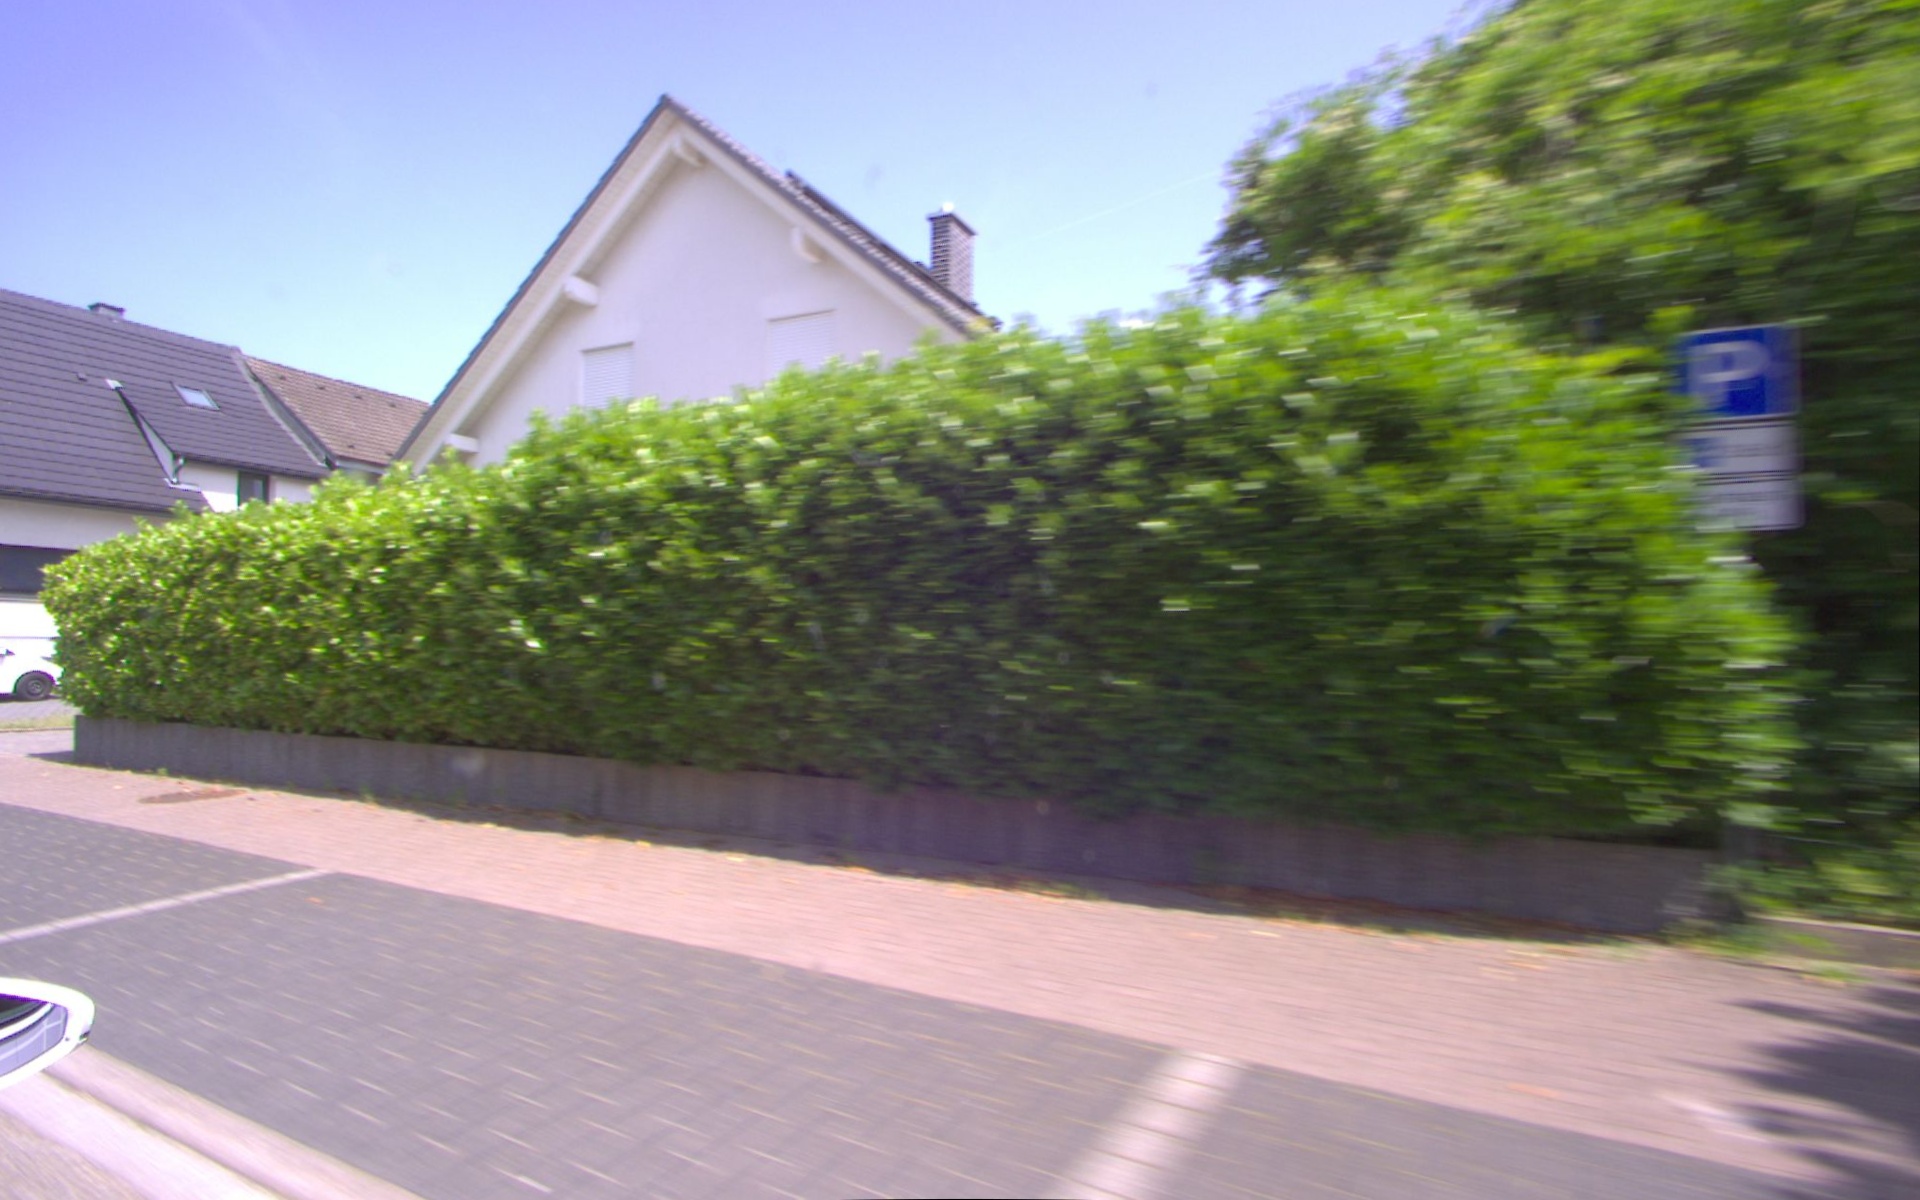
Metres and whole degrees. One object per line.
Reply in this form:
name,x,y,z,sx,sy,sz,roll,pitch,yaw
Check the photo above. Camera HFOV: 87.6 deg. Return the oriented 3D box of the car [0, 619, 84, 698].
car,-19.565,1.127,19.290,1.735,1.494,3.660,1,-1,23
